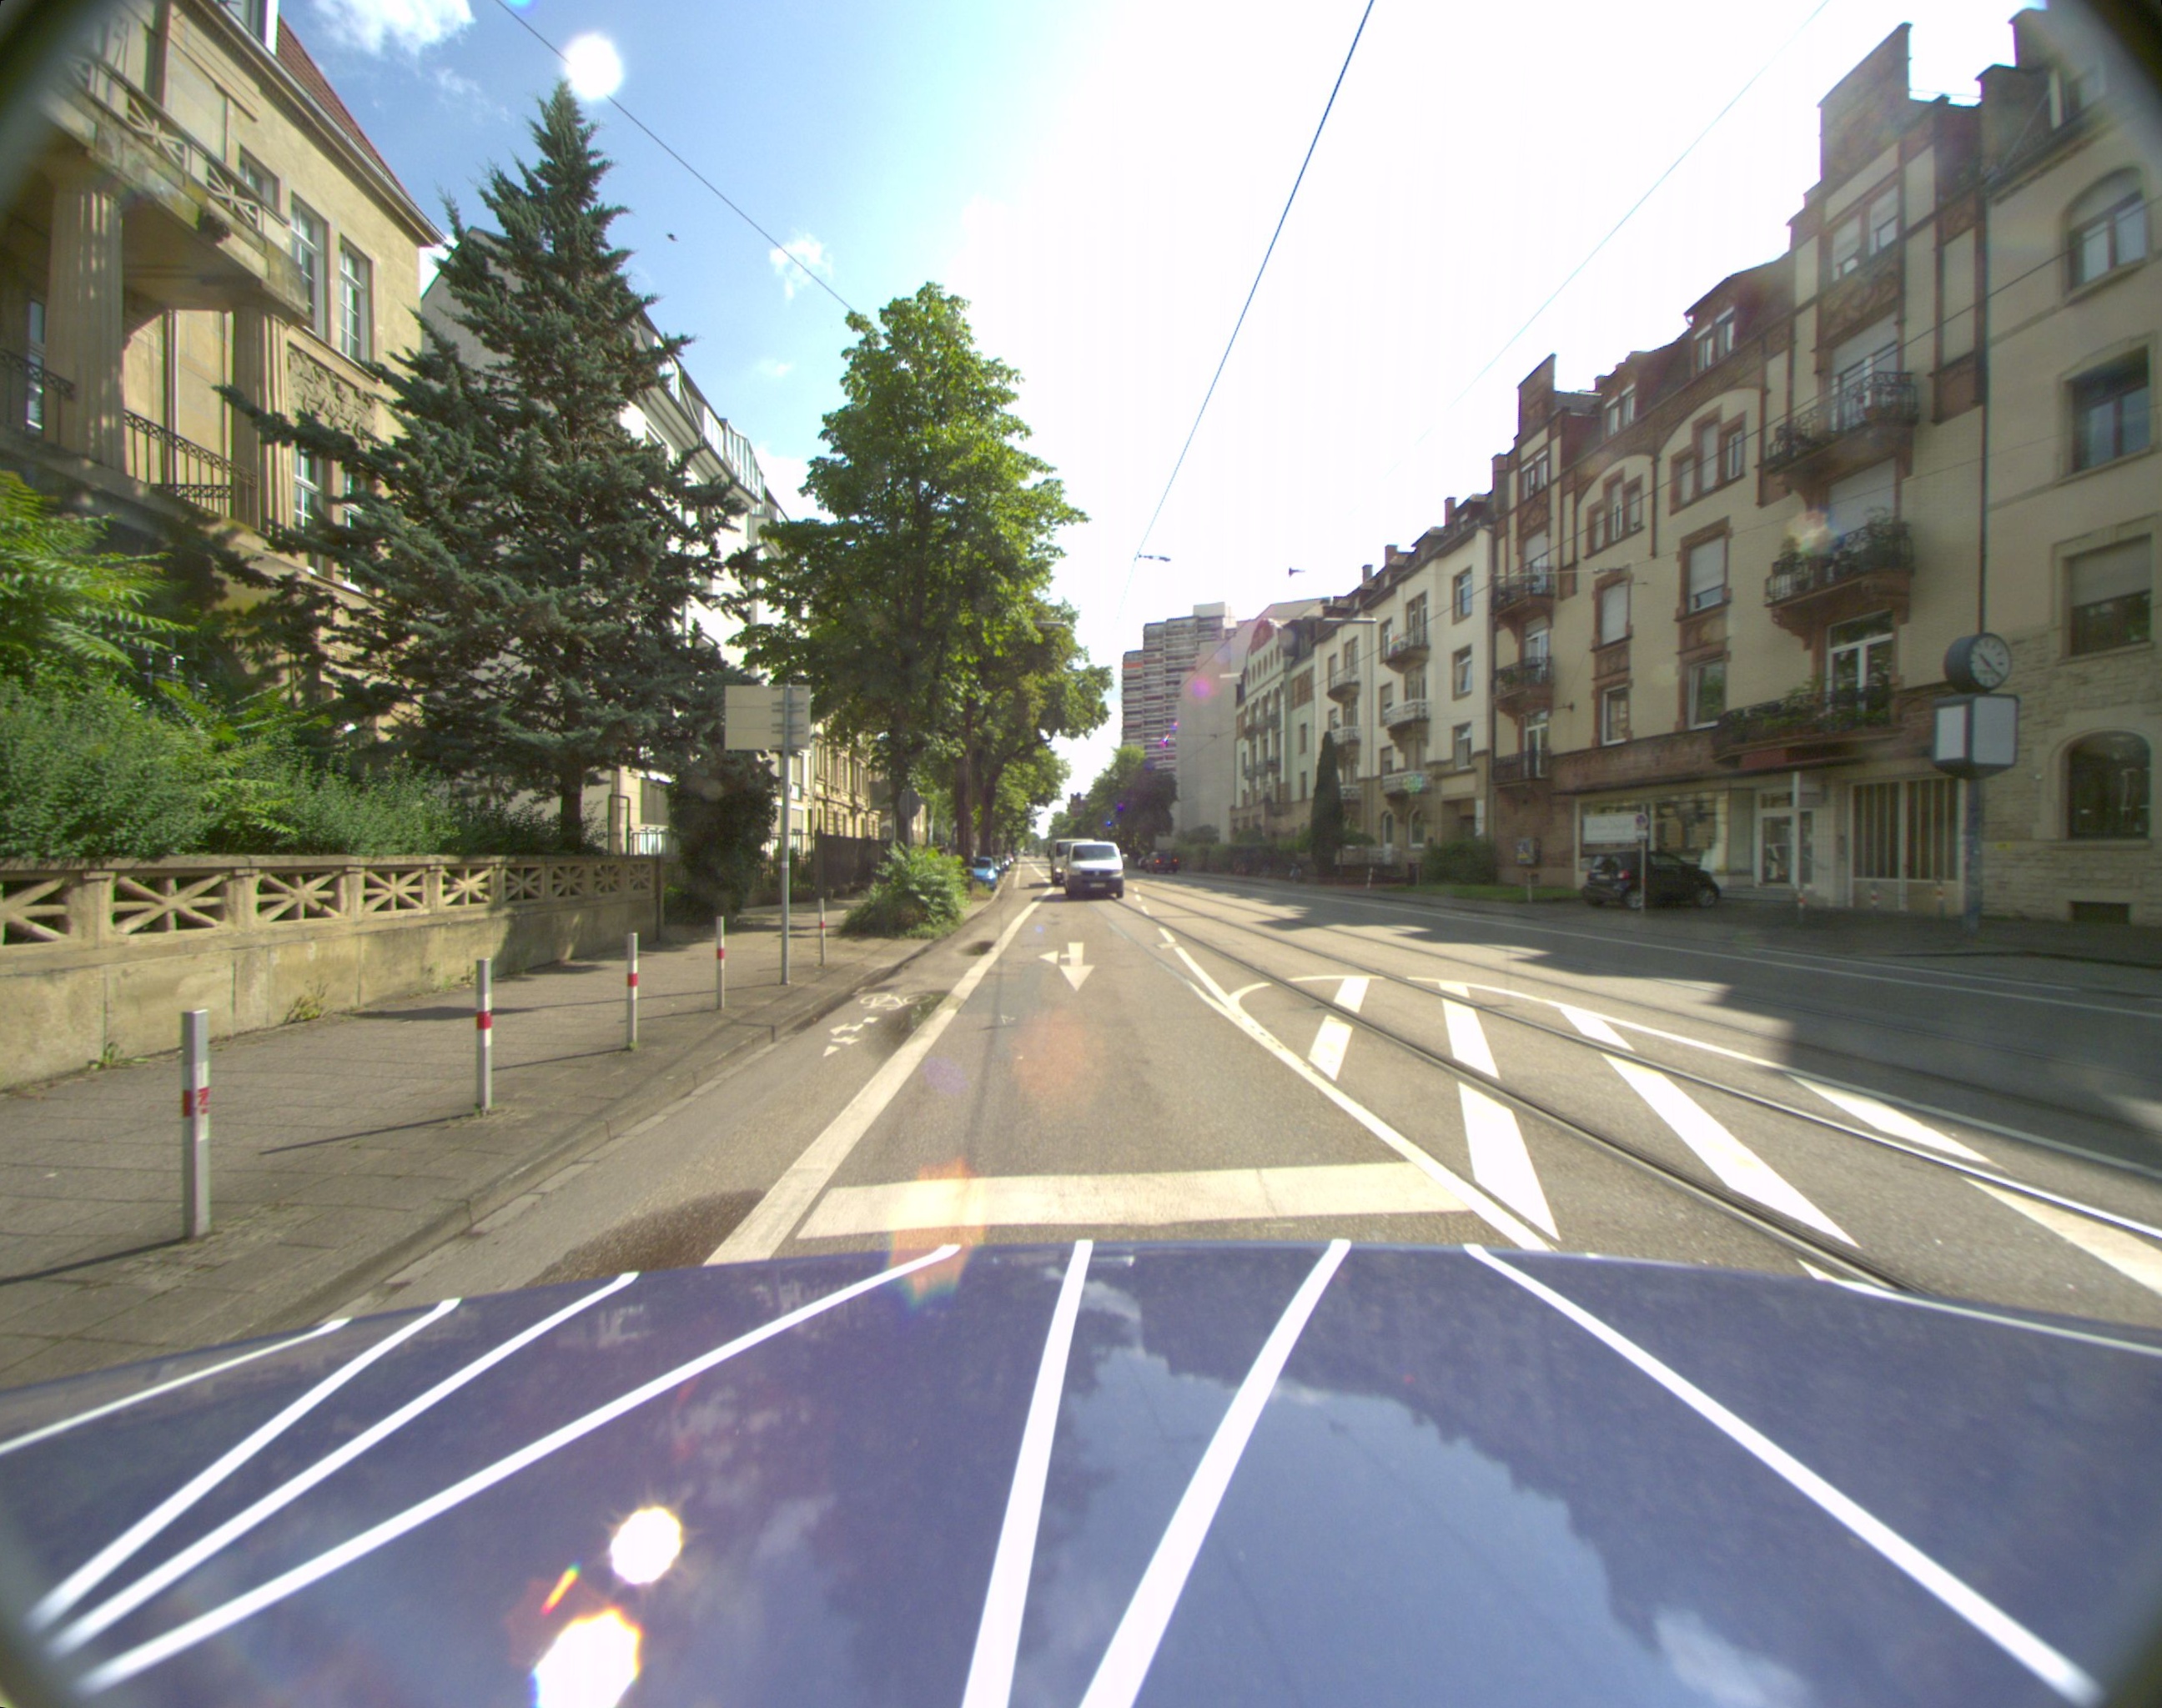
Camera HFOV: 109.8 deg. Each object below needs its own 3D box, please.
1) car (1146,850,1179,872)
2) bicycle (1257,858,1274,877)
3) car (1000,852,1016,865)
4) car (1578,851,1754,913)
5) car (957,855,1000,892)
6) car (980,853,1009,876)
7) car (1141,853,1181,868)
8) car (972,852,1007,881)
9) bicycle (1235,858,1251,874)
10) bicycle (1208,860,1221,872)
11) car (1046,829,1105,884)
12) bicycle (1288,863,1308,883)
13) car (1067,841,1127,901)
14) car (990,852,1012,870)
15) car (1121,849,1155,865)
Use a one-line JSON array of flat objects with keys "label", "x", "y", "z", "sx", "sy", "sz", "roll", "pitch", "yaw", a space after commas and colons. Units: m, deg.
[{"label": "car", "x": 6.481, "y": 0.512, "z": 60.749, "sx": 1.797, "sy": 1.701, "sz": 4.329, "roll": 0, "pitch": 0, "yaw": -5}, {"label": "bicycle", "x": 10.645, "y": 0.772, "z": 43.907, "sx": 0.540, "sy": 1.024, "sz": 1.872, "roll": 0, "pitch": 1, "yaw": 0}, {"label": "car", "x": -8.901, "y": 0.549, "z": 93.244, "sx": 1.774, "sy": 1.563, "sz": 4.198, "roll": 2, "pitch": 0, "yaw": -4}, {"label": "car", "x": 15.658, "y": 0.710, "z": 20.451, "sx": 3.453, "sy": 1.478, "sz": 1.706, "roll": -2, "pitch": 1, "yaw": -3}, {"label": "car", "x": -4.421, "y": 0.809, "z": 33.211, "sx": 1.642, "sy": 1.447, "sz": 3.697, "roll": 2, "pitch": 0, "yaw": -5}, {"label": "car", "x": -5.815, "y": 0.688, "z": 51.588, "sx": 1.724, "sy": 1.443, "sz": 3.924, "roll": 2, "pitch": 0, "yaw": -4}, {"label": "car", "x": 8.091, "y": 0.668, "z": 77.010, "sx": 3.890, "sy": 1.527, "sz": 1.634, "roll": 0, "pitch": 1, "yaw": -2}, {"label": "car", "x": -5.188, "y": 0.678, "z": 43.484, "sx": 1.645, "sy": 1.499, "sz": 3.621, "roll": 2, "pitch": 0, "yaw": -3}, {"label": "bicycle", "x": 10.271, "y": 0.761, "z": 48.243, "sx": 0.587, "sy": 0.980, "sz": 1.872, "roll": 0, "pitch": 1, "yaw": 0}, {"label": "bicycle", "x": 9.524, "y": 0.834, "z": 54.360, "sx": 0.587, "sy": 0.792, "sz": 1.872, "roll": -2, "pitch": 1, "yaw": 0}, {"label": "car", "x": -0.364, "y": 0.094, "z": 37.965, "sx": 2.169, "sy": 2.572, "sz": 5.659, "roll": 0, "pitch": 0, "yaw": -8}, {"label": "bicycle", "x": 10.911, "y": 0.939, "z": 38.234, "sx": 0.524, "sy": 0.901, "sz": 2.066, "roll": 0, "pitch": 2, "yaw": 3}, {"label": "car", "x": 0.476, "y": 0.526, "z": 26.300, "sx": 1.831, "sy": 1.856, "sz": 4.844, "roll": -1, "pitch": 0, "yaw": -1}, {"label": "car", "x": -7.367, "y": 0.608, "z": 70.432, "sx": 1.774, "sy": 1.522, "sz": 4.198, "roll": 2, "pitch": 0, "yaw": -4}, {"label": "car", "x": 6.958, "y": 0.315, "z": 93.217, "sx": 3.998, "sy": 1.914, "sz": 1.830, "roll": 0, "pitch": 1, "yaw": -2}]
